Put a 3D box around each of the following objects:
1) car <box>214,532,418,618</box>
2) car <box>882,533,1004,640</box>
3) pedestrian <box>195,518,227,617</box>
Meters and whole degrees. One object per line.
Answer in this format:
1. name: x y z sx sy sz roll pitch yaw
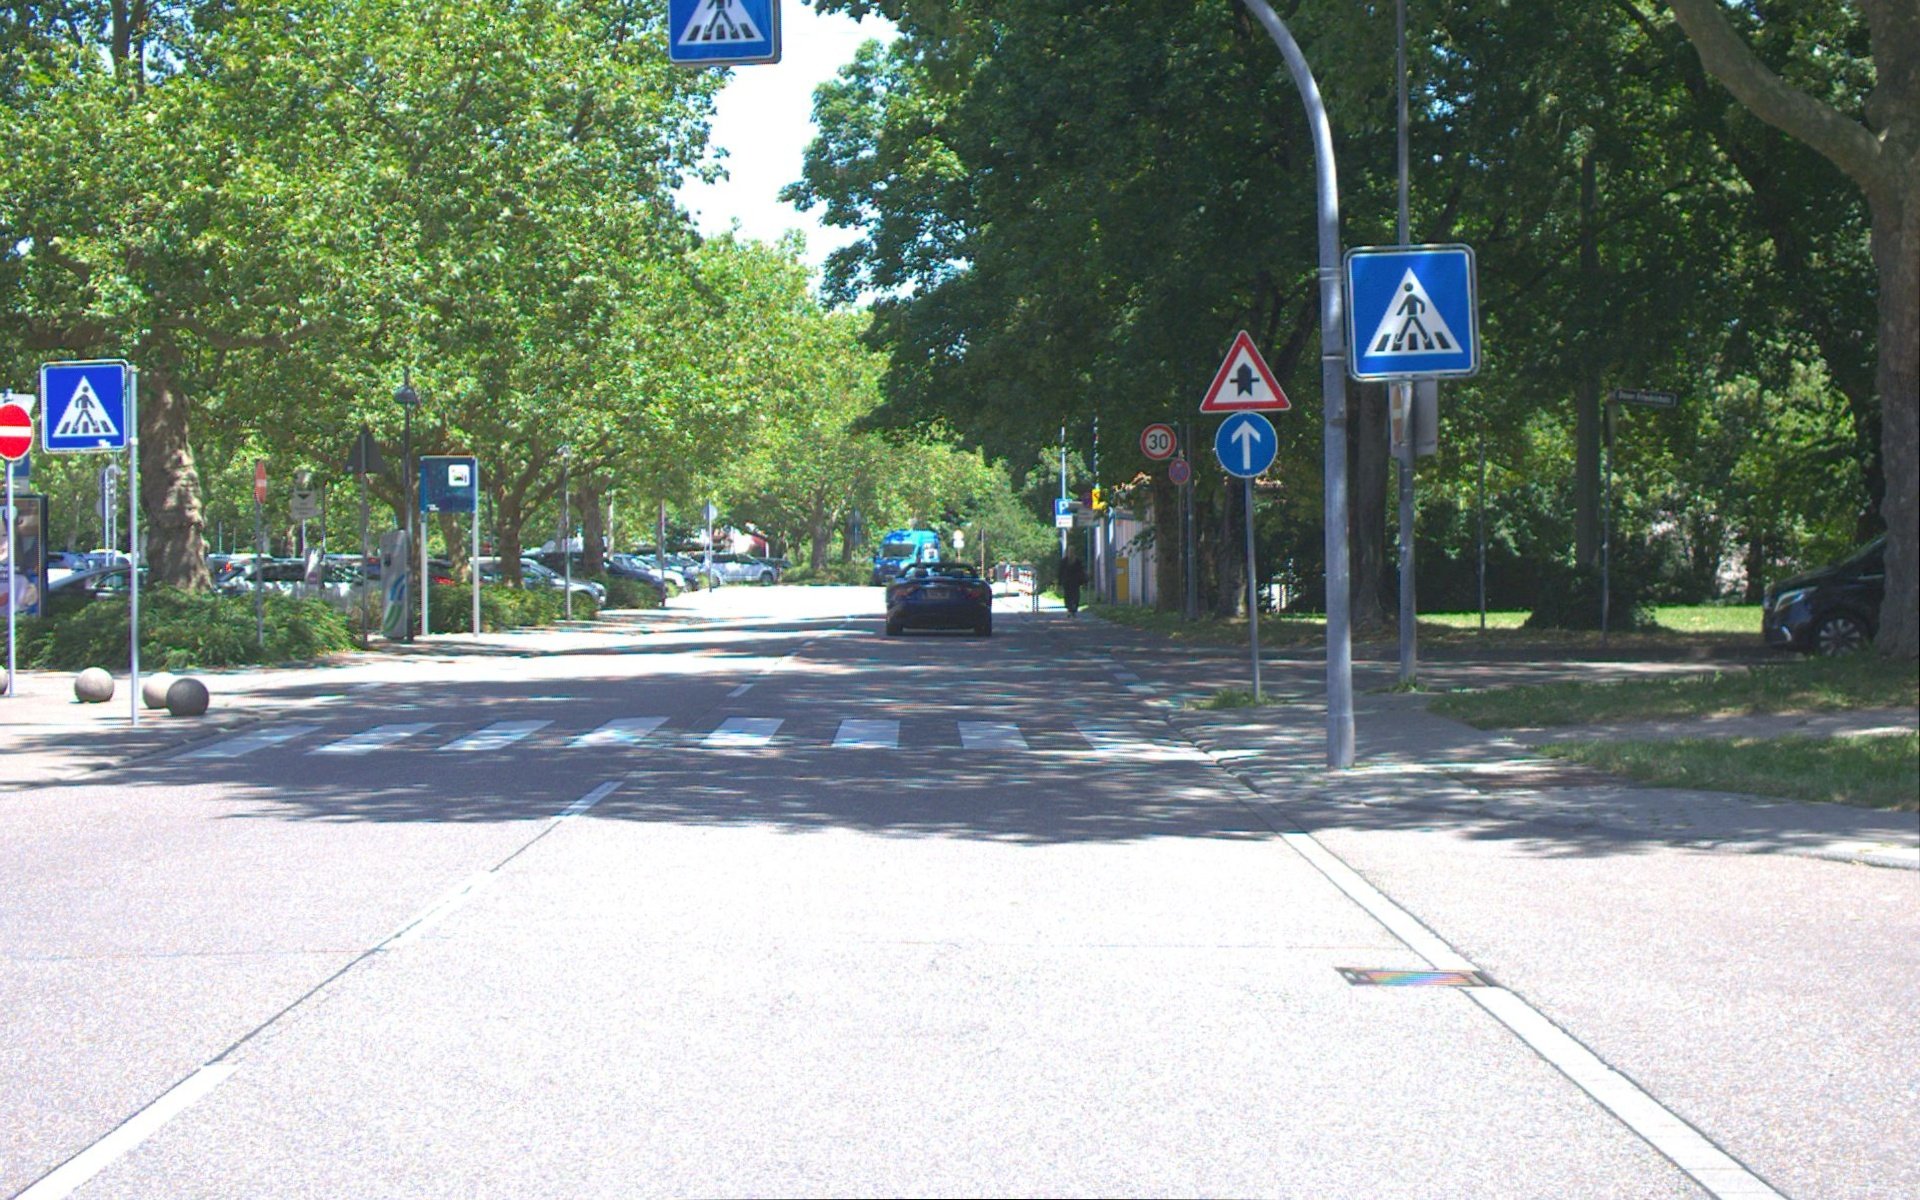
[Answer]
1. car: -13.544 -0.523 72.290 3.986 1.775 2.001 0 0 -18
2. car: -0.310 -0.260 62.089 2.125 1.842 4.048 0 1 0
3. pedestrian: -15.341 -0.656 70.391 0.624 2.007 0.570 0 -1 -14
